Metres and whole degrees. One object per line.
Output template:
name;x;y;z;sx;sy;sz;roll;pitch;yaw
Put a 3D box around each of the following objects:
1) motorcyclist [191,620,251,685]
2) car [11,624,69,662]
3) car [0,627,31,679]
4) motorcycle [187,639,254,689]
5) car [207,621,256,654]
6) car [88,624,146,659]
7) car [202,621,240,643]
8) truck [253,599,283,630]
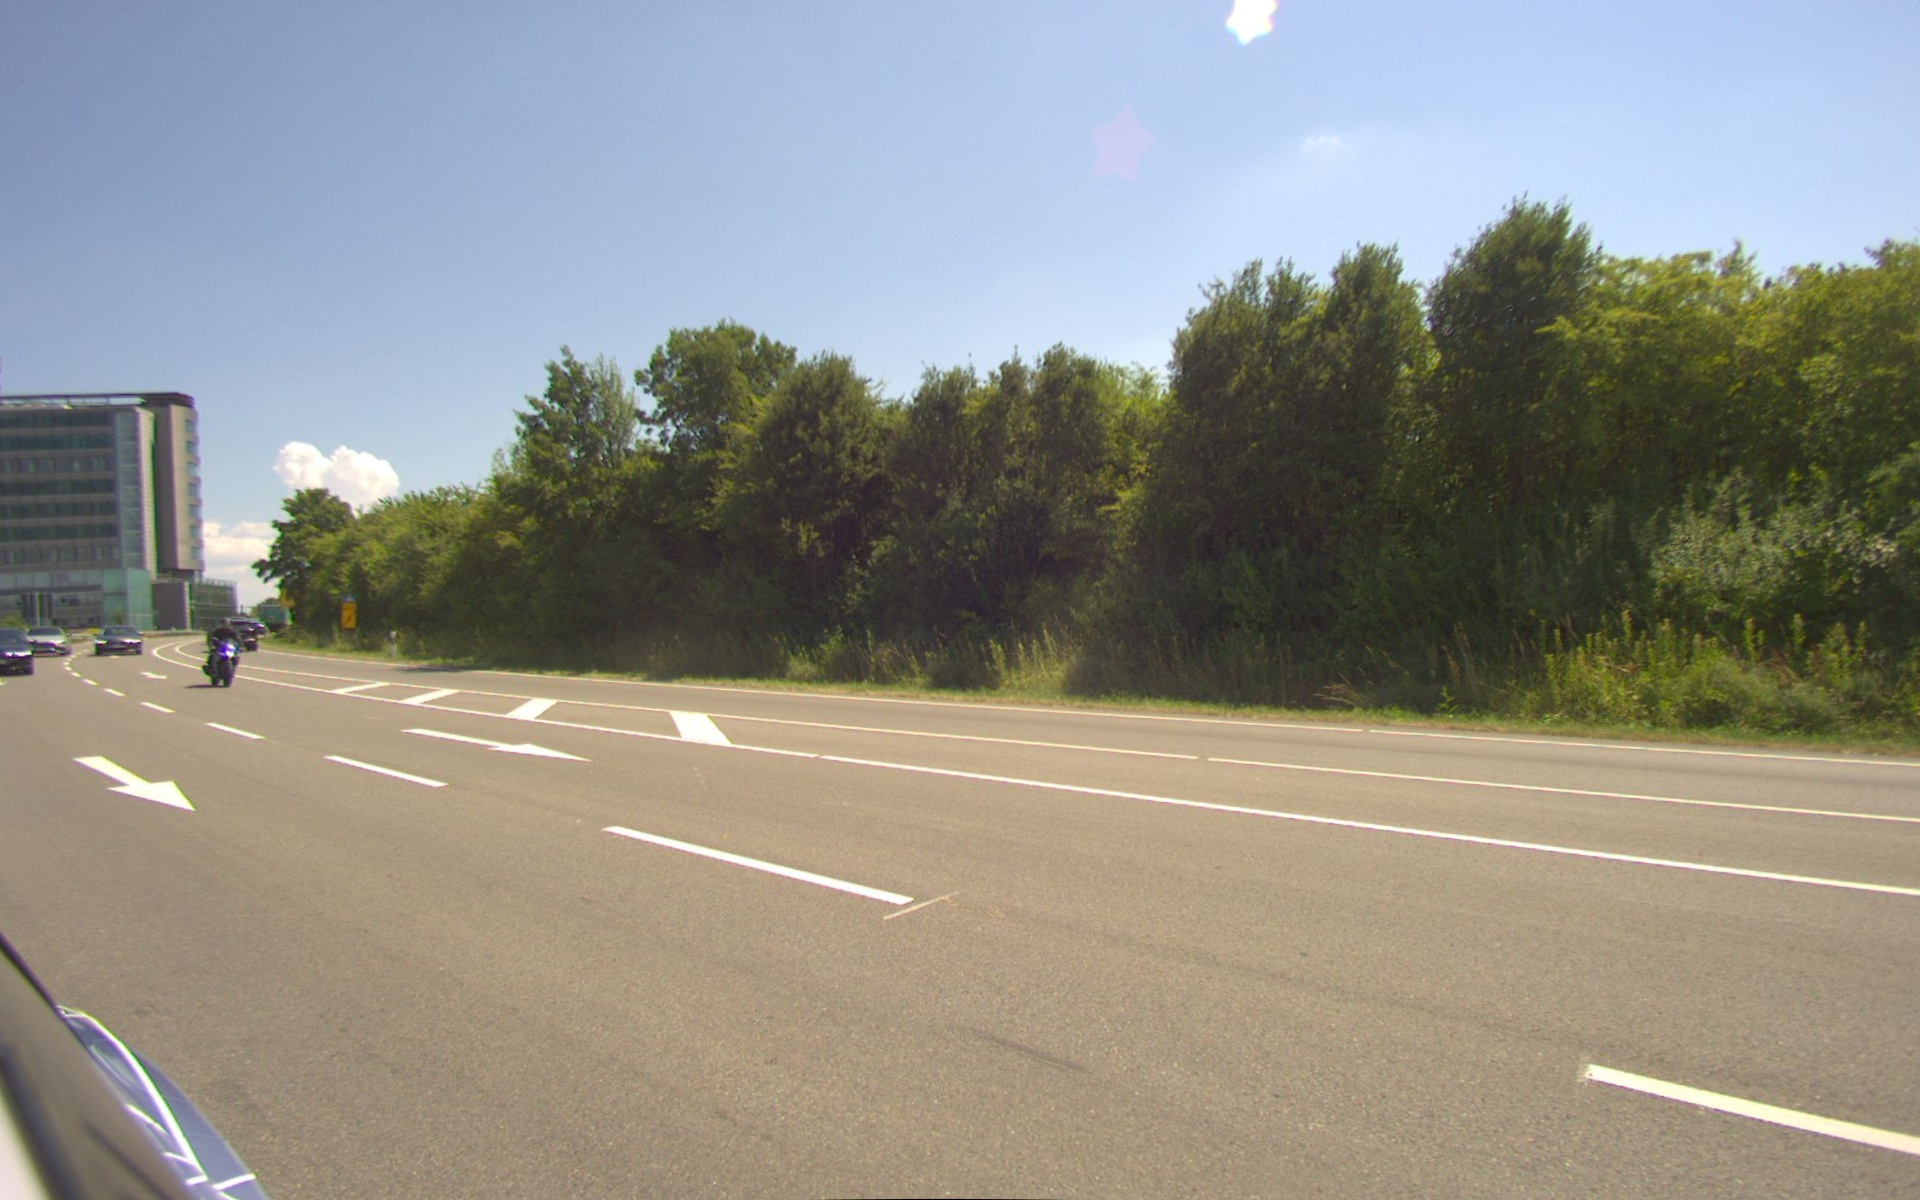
motorcyclist;-17.586;1.243;24.082;1.160;1.500;0.850;-2;-2;37
car;-44.942;2.127;49.514;1.905;1.598;4.185;-4;-1;-41
car;-30.092;1.642;31.445;1.754;1.518;4.566;-1;-2;-42
motorcycle;-17.637;1.500;24.115;2.069;1.147;0.725;-2;-2;37
car;-37.881;1.894;52.591;1.967;1.605;4.692;0;-1;-37
car;-41.525;2.010;49.946;2.085;1.603;4.459;-2;0;-39
car;-51.094;2.205;69.915;1.794;1.453;4.651;0;-1;-40
truck;-83.187;1.803;121.633;2.830;3.601;9.454;0;-1;-35
